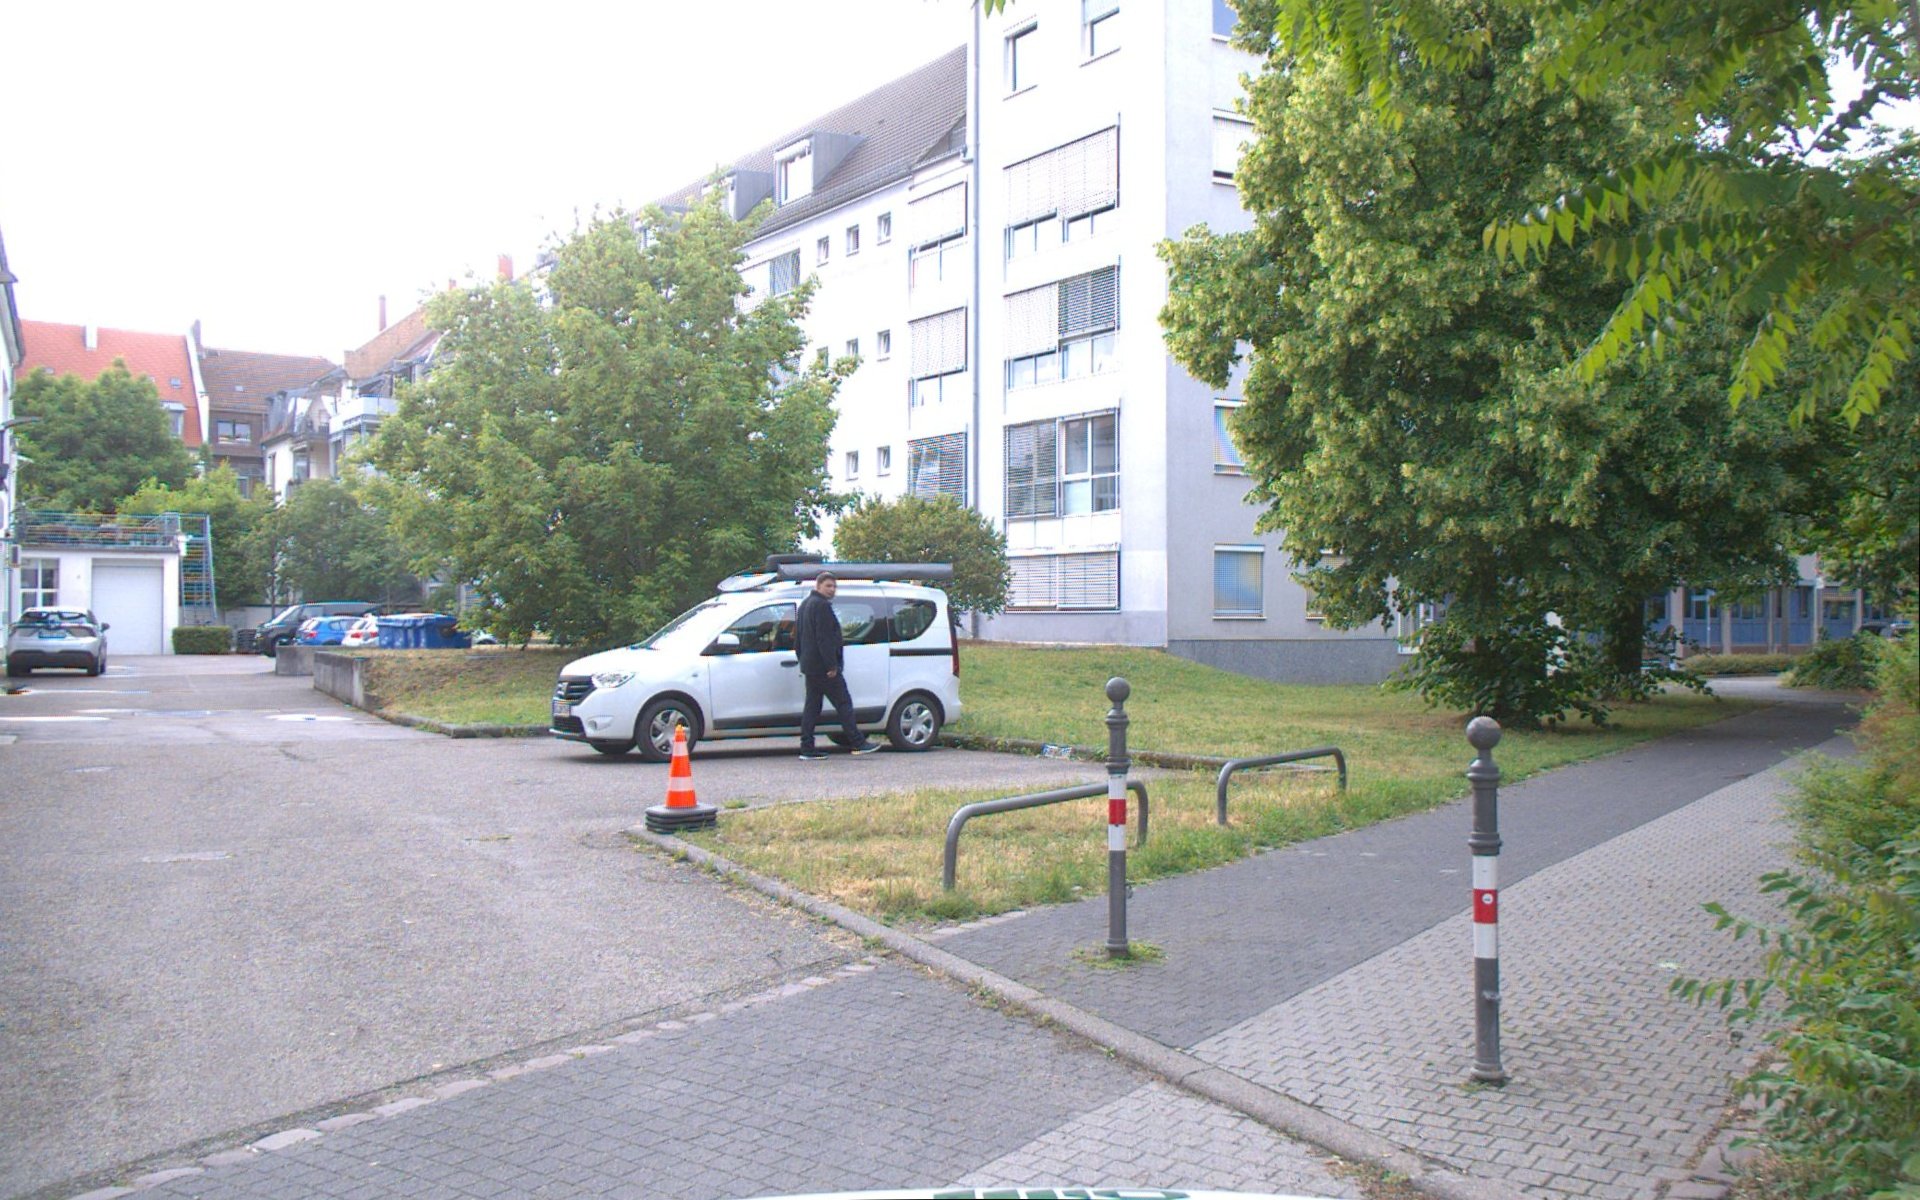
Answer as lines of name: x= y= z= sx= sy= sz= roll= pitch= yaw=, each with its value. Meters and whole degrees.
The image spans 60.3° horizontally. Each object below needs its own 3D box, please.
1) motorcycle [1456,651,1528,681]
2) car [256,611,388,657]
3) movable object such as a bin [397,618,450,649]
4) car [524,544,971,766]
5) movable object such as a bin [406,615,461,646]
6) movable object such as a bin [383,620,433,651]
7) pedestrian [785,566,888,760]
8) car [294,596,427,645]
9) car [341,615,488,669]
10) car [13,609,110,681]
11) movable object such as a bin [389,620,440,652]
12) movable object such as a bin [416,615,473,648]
motorcycle: x=17.293 y=2.120 z=53.720 sx=0.946 sy=0.897 sz=3.171 roll=0 pitch=-1 yaw=44
car: x=-23.472 y=1.217 z=60.923 sx=4.156 sy=1.601 sz=1.971 roll=0 pitch=0 yaw=-40
movable object such as a bin: x=-11.550 y=0.721 z=35.581 sx=0.954 sy=0.648 sz=0.903 roll=1 pitch=-2 yaw=-28
car: x=-2.153 y=0.550 z=17.244 sx=4.299 sy=2.049 sz=1.832 roll=1 pitch=-2 yaw=-34
movable object such as a bin: x=-10.994 y=0.639 z=34.545 sx=0.954 sy=0.648 sz=0.903 roll=1 pitch=-2 yaw=-28
movable object such as a bin: x=-12.431 y=0.801 z=37.244 sx=0.954 sy=0.691 sz=0.863 roll=1 pitch=-2 yaw=-28
pedestrian: x=-1.214 y=0.606 z=16.195 sx=0.747 sy=1.840 sz=0.690 roll=0 pitch=-2 yaw=-33
car: x=-20.313 y=0.686 z=56.130 sx=3.962 sy=1.601 sz=1.562 roll=0 pitch=0 yaw=-40
car: x=-17.136 y=1.296 z=52.026 sx=3.962 sy=1.601 sz=1.971 roll=0 pitch=0 yaw=-40
car: x=-20.316 y=1.019 z=37.502 sx=1.826 sy=1.534 sz=3.963 roll=1 pitch=-2 yaw=-28
movable object such as a bin: x=-12.019 y=0.791 z=36.452 sx=0.954 sy=0.691 sz=0.803 roll=1 pitch=-2 yaw=-28
movable object such as a bin: x=-10.417 y=0.633 z=33.400 sx=0.954 sy=0.648 sz=0.903 roll=1 pitch=-2 yaw=-28
